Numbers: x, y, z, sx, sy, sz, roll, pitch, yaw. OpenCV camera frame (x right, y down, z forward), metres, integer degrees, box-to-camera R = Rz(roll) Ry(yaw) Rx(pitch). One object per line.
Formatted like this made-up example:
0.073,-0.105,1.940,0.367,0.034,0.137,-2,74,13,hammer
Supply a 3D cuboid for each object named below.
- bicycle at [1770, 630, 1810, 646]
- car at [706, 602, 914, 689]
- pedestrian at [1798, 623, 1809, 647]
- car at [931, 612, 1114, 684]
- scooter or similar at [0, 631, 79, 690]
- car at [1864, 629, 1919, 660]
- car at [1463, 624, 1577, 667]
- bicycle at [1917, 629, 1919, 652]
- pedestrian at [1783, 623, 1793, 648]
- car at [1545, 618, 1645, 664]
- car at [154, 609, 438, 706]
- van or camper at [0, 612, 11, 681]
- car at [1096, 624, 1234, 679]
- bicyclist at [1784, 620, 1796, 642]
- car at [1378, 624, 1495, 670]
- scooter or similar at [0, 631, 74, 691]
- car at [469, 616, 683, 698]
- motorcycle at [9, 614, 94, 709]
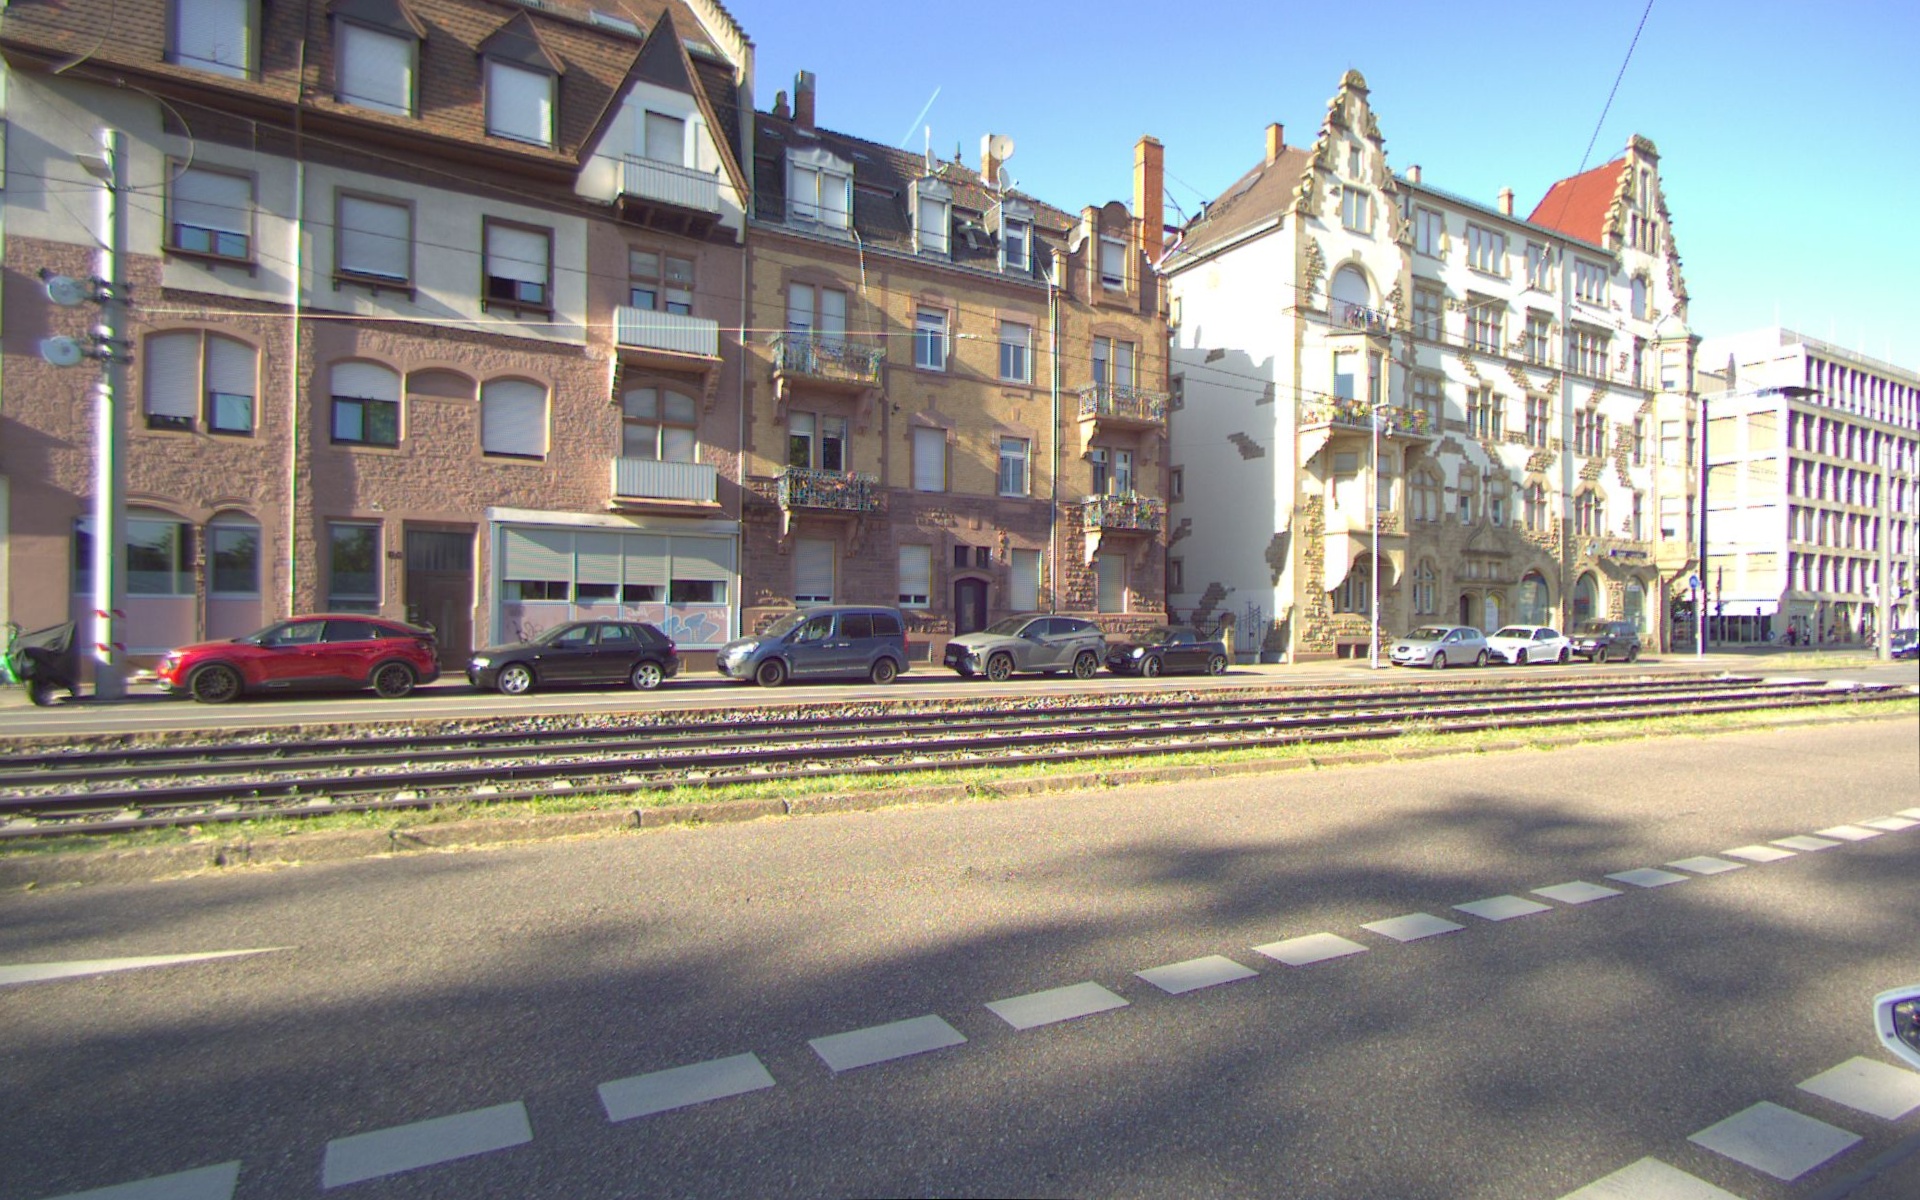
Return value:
64.690,2.929,78.337,2.351,1.231,0.575,-1,-2,37,bicycle
-3.435,1.000,23.127,4.361,1.782,1.878,1,2,-28,car
64.094,2.658,76.352,0.522,1.868,0.443,0,-1,23,pedestrian
1.653,1.198,26.119,4.450,1.644,1.846,1,2,-31,car
-17.390,1.125,18.968,1.108,1.083,0.203,1,1,-30,scooter or similar
46.703,2.190,49.772,4.121,1.476,1.810,1,-2,-33,car
21.123,1.664,37.831,4.603,1.442,1.708,1,1,-32,car
60.430,2.532,62.500,1.923,1.400,0.682,1,-2,-29,bicycle
63.325,2.699,76.803,0.464,1.868,0.443,0,-1,23,pedestrian
25.608,1.601,40.466,4.169,1.698,1.708,1,1,-32,car
-11.980,0.984,18.463,4.162,1.519,1.846,1,2,-31,car
-19.511,0.928,19.808,0.794,1.375,1.418,1,-1,-29,van or camper
5.821,1.424,28.437,3.683,1.373,1.614,1,2,-31,car
64.716,2.443,78.314,0.633,1.708,0.575,-1,-1,37,bicyclist
16.570,1.593,34.890,4.177,1.450,1.700,1,1,-32,car
-17.259,1.127,18.715,1.108,1.083,0.203,1,1,-30,scooter or similar
-7.839,1.105,20.566,3.882,1.457,1.686,1,2,-31,car
-15.124,0.982,16.761,0.621,1.441,1.847,0,1,-29,motorcycle
